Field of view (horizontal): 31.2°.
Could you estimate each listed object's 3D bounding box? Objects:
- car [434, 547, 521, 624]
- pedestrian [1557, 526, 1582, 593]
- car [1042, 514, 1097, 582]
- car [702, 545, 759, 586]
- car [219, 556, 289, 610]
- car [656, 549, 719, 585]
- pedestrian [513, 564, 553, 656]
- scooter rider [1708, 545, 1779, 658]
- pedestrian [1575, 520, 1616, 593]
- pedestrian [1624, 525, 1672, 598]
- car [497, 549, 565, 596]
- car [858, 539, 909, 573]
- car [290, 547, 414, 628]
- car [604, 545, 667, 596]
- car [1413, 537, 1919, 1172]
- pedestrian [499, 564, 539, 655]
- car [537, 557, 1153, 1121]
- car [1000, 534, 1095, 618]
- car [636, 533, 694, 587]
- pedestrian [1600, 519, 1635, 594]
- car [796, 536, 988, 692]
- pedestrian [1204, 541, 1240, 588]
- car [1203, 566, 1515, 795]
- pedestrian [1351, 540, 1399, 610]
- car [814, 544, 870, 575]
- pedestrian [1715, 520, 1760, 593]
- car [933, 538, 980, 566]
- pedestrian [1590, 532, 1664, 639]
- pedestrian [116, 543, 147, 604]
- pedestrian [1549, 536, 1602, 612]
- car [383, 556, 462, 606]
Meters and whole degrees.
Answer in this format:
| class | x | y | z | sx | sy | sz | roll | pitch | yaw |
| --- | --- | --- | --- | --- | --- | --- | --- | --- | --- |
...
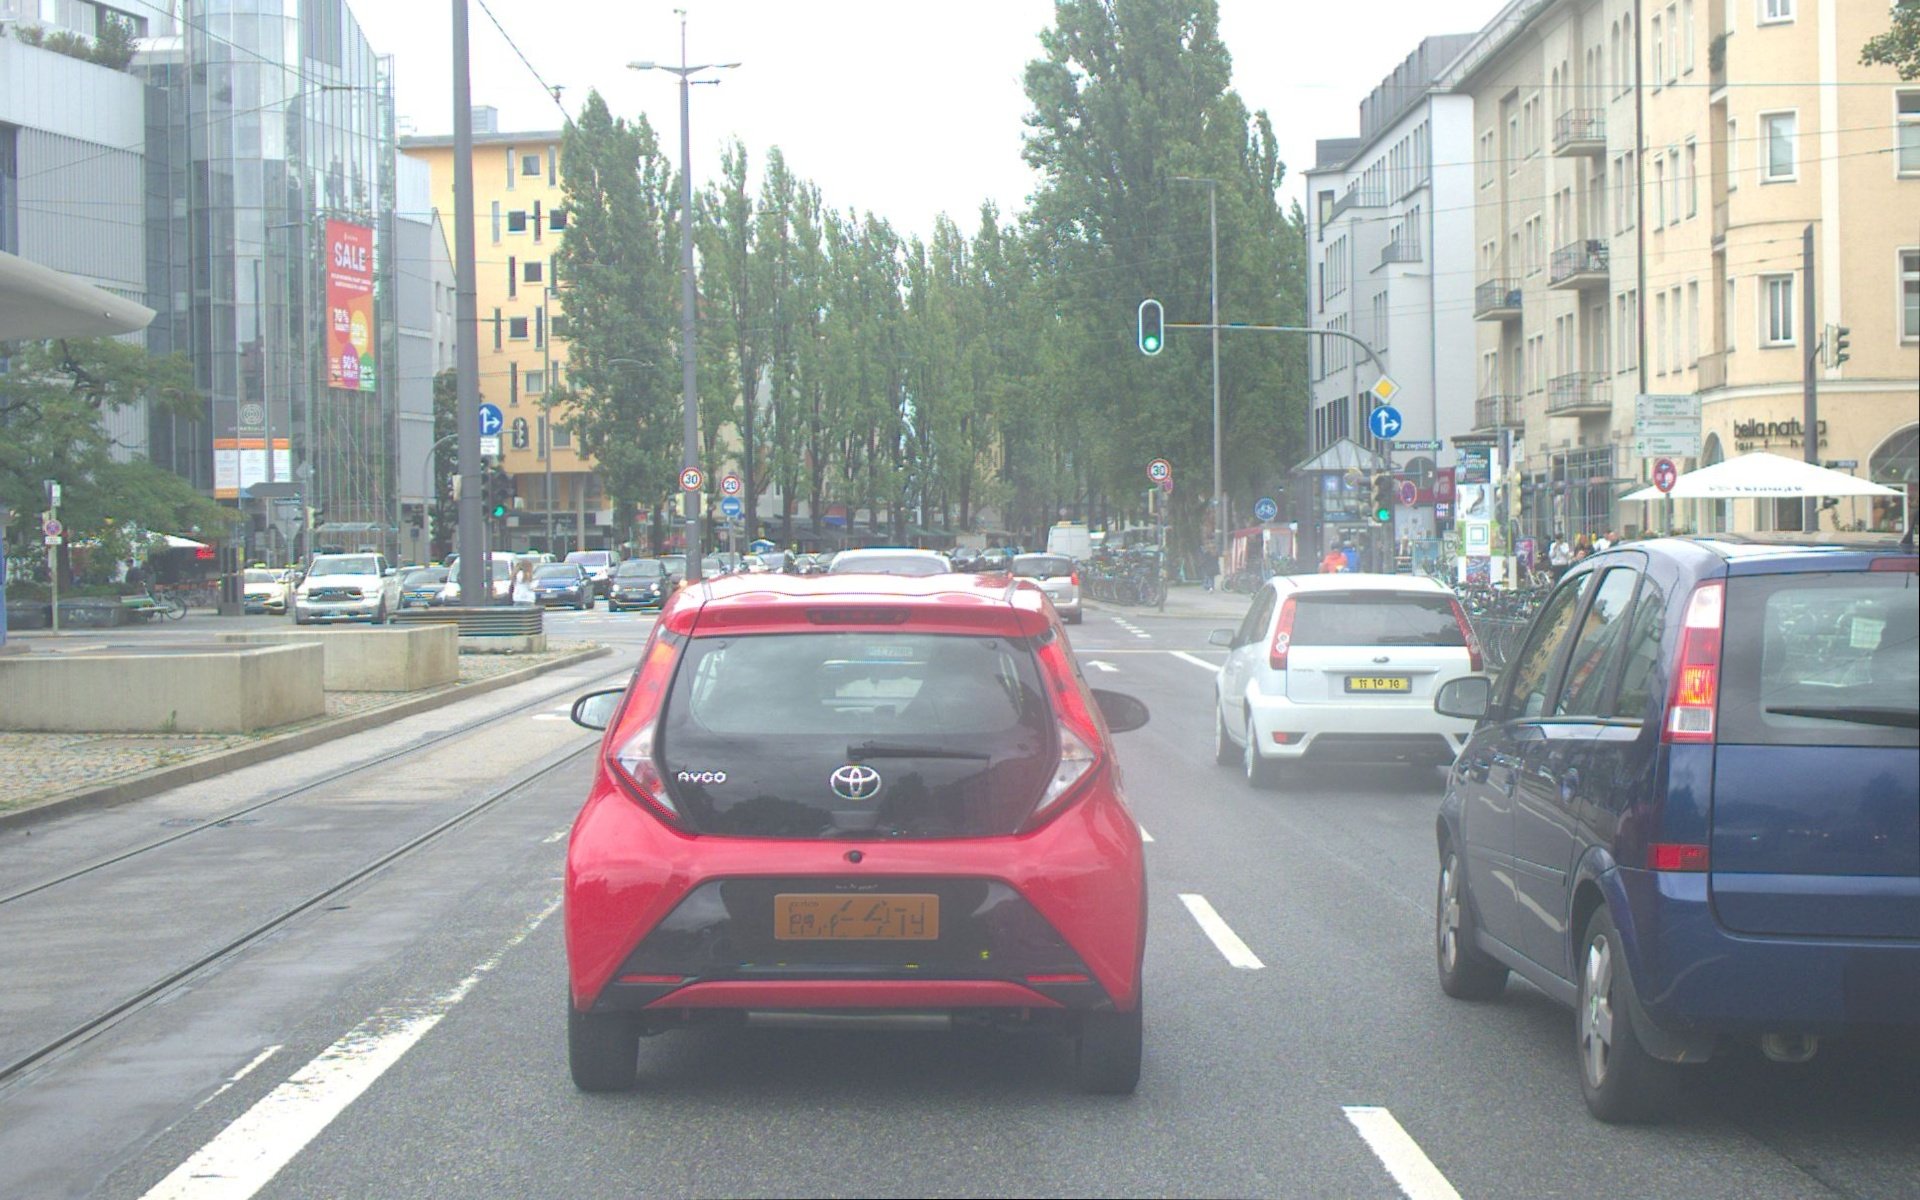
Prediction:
| class | x | y | z | sx | sy | sz | roll | pitch | yaw |
| --- | --- | --- | --- | --- | --- | --- | --- | --- | --- |
| car | -12.298 | -0.388 | 87.842 | 1.786 | 1.849 | 4.219 | -2 | 1 | -3 |
| pedestrian | 14.782 | -0.984 | 83.347 | 0.561 | 1.604 | 0.567 | 0 | 4 | 13 |
| car | 4.490 | -2.147 | 141.088 | 2.107 | 2.709 | 4.804 | -1 | 1 | 0 |
| car | -9.883 | -1.512 | 148.373 | 1.743 | 1.664 | 4.731 | -1 | 1 | 5 |
| car | -21.948 | -0.546 | 106.716 | 1.993 | 1.531 | 4.416 | -2 | 2 | -13 |
| car | -11.099 | -1.367 | 140.145 | 1.994 | 1.407 | 4.167 | -1 | 1 | 3 |
| pedestrian | -7.553 | 0.173 | 60.845 | 0.521 | 1.613 | 0.463 | 0 | 1 | 43 |
| scooter rider | 9.710 | 0.009 | 42.615 | 0.700 | 1.384 | 0.643 | -1 | 1 | -2 |
| pedestrian | 15.368 | -1.054 | 83.137 | 0.644 | 1.699 | 0.733 | -4 | 4 | -29 |
| pedestrian | 16.713 | -0.948 | 83.561 | 0.933 | 1.749 | 1.065 | -1 | 1 | 0 |
| car | -12.961 | -0.850 | 104.042 | 1.677 | 1.391 | 4.233 | -1 | 1 | -2 |
| car | -4.115 | -2.390 | 185.559 | 1.994 | 1.685 | 4.920 | 4 | 2 | 7 |
| car | -14.856 | -0.340 | 84.345 | 2.175 | 1.881 | 6.157 | -1 | 1 | -2 |
| car | -9.426 | -0.863 | 99.723 | 1.545 | 1.440 | 3.540 | -1 | 1 | -10 |
| car | 2.474 | 0.618 | 10.412 | 1.703 | 1.584 | 3.556 | 1 | 1 | 0 |
| pedestrian | -7.842 | 0.163 | 61.128 | 0.486 | 1.613 | 0.558 | -1 | 1 | -35 |
| car | -0.287 | 0.612 | 10.625 | 1.605 | 1.456 | 3.130 | -1 | 1 | 1 |
| car | 1.948 | -0.554 | 77.899 | 1.993 | 1.831 | 4.000 | -1 | 1 | 0 |
| car | -8.979 | -1.229 | 104.498 | 1.503 | 1.529 | 2.838 | -2 | 2 | -9 |
| pedestrian | 15.752 | -1.039 | 82.383 | 0.648 | 1.745 | 0.637 | -2 | 4 | -5 |
| car | -0.742 | 0.112 | 38.123 | 1.993 | 1.612 | 4.000 | -1 | 1 | -1 |
| pedestrian | 8.541 | -1.157 | 112.077 | 0.798 | 1.517 | 0.811 | -1 | 1 | -42 |
| car | 2.737 | 0.510 | 24.283 | 1.699 | 1.421 | 3.497 | 2 | 1 | -1 |
| pedestrian | 9.985 | -0.600 | 82.741 | 0.836 | 1.685 | 0.818 | 0 | 1 | 37 |
| car | -6.023 | -2.077 | 175.961 | 1.994 | 1.529 | 4.586 | -1 | 1 | 10 |
| pedestrian | 18.289 | -1.028 | 80.870 | 0.744 | 1.679 | 0.682 | -4 | 5 | -34 |
| car | -0.198 | -2.949 | 210.439 | 1.995 | 1.722 | 3.915 | 0 | 1 | 13 |
| pedestrian | 11.040 | -0.243 | 56.895 | 0.881 | 1.737 | 0.858 | -1 | 1 | -17 |
| pedestrian | -24.351 | -0.778 | 101.046 | 0.749 | 1.767 | 0.773 | -1 | 1 | -23 |
| pedestrian | 12.517 | -0.531 | 69.916 | 0.729 | 1.535 | 0.891 | -1 | 1 | -15 |
| car | -15.365 | -0.566 | 98.499 | 1.672 | 1.374 | 4.614 | -1 | 1 | -2 |
